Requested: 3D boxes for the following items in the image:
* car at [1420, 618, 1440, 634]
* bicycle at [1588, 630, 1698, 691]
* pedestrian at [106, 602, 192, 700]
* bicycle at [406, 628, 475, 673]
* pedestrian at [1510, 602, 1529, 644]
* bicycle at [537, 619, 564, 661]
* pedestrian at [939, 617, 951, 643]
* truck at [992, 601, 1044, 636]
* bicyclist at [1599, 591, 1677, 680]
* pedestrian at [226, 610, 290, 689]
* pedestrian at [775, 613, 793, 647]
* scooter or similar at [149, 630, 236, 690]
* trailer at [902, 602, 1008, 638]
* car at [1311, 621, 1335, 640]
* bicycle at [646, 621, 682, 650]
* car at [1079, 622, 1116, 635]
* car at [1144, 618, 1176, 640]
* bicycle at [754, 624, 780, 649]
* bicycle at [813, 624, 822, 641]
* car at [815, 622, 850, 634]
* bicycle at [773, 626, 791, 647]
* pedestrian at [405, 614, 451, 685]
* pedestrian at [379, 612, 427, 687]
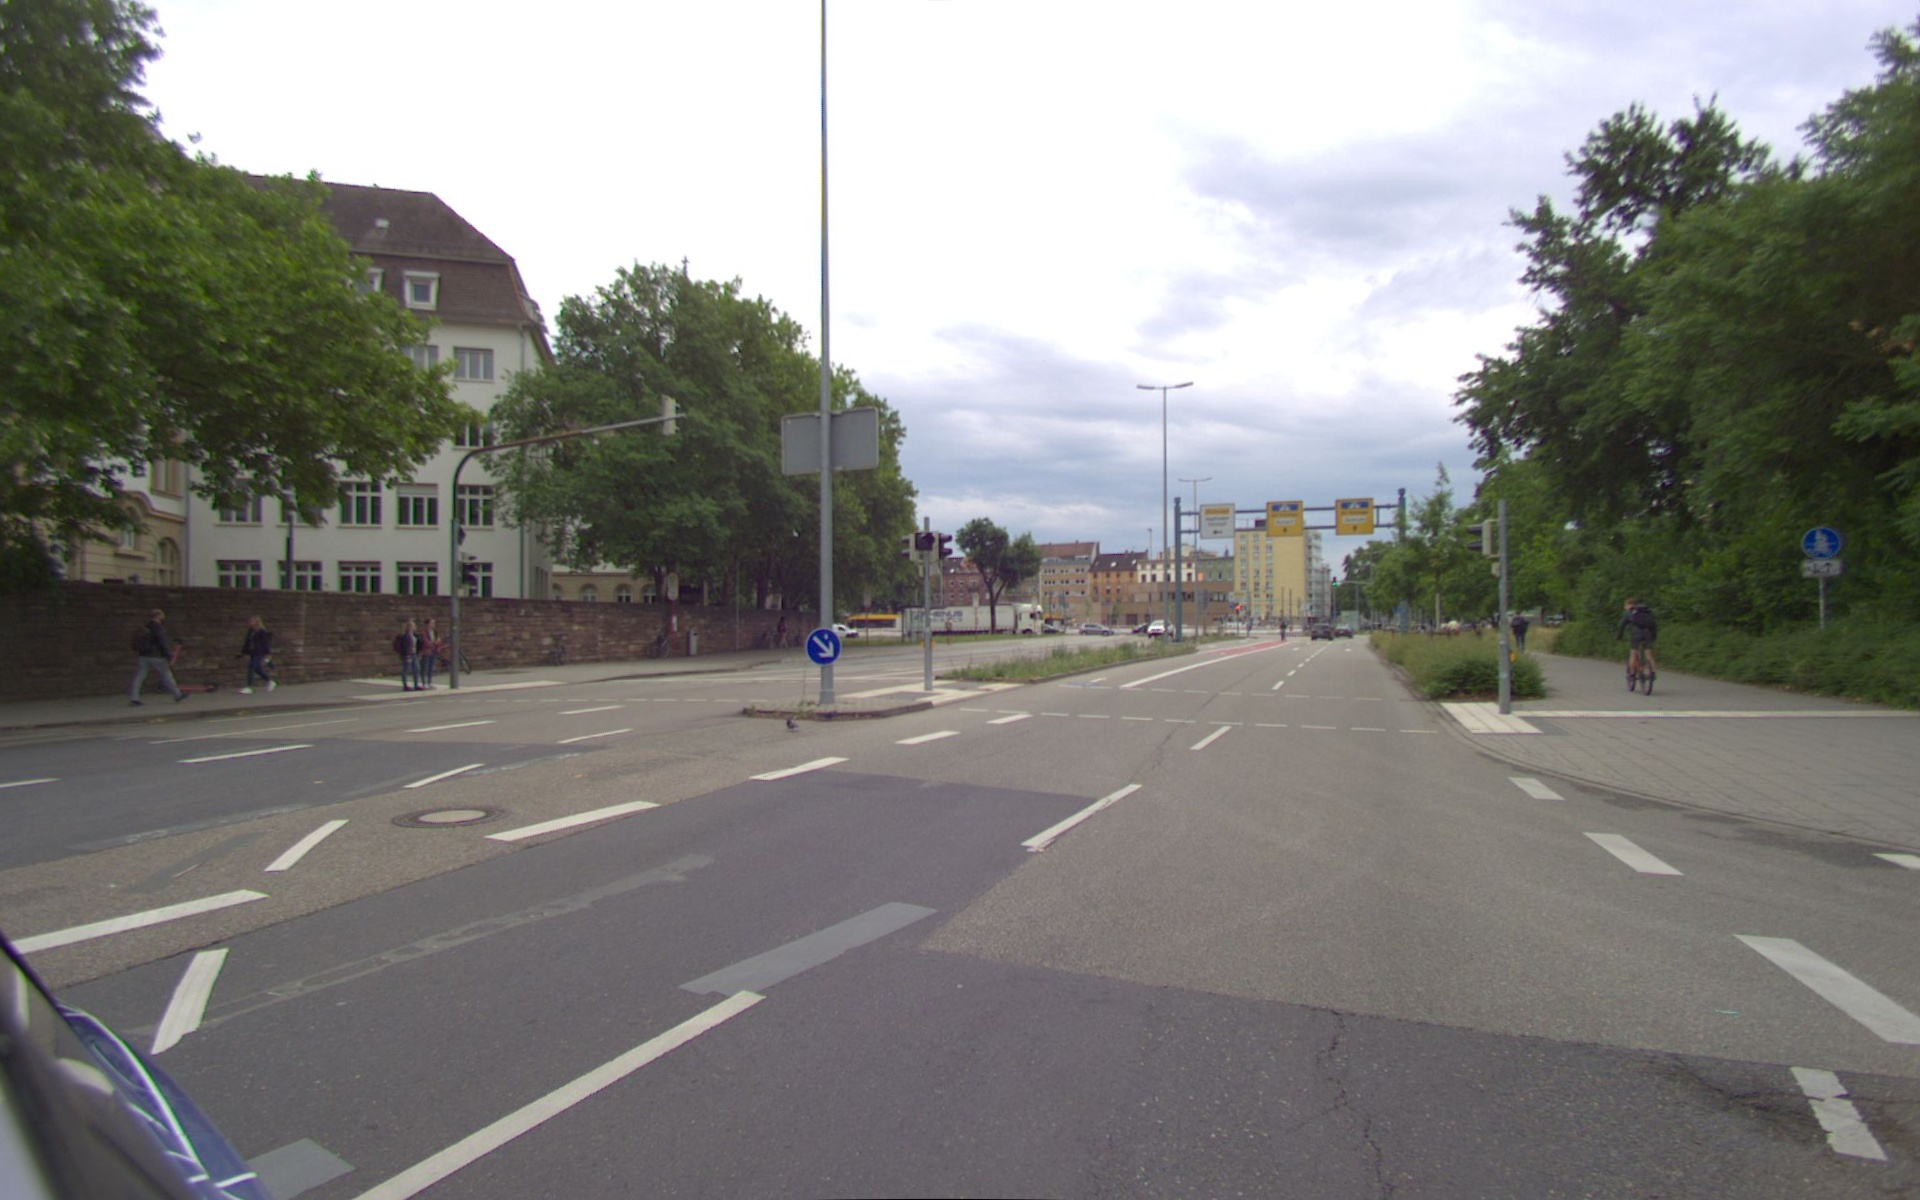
[{"bbox_3d":[61.427,3.398,132.206,1.992,2.029,3.959,-2,-1,30],"label":"car"},{"bbox_3d":[12.976,1.122,19.299,0.772,1.045,1.864,-2,-1,0],"label":"bicycle"},{"bbox_3d":[-15.519,0.945,19.394,0.751,1.802,1.001,1,0,16],"label":"pedestrian"},{"bbox_3d":[-14.747,1.411,28.778,0.576,1.194,2.150,1,-1,9],"label":"bicycle"},{"bbox_3d":[22.425,0.929,40.558,0.640,1.677,0.801,-2,-2,29],"label":"pedestrian"},{"bbox_3d":[-14.185,1.379,35.105,0.658,1.391,2.593,0,-2,-18],"label":"bicycle"},{"bbox_3d":[-0.997,1.997,67.214,0.637,1.719,0.704,-1,-2,18],"label":"pedestrian"},{"bbox_3d":[6.760,2.133,117.446,5.403,3.852,2.829,-1,0,17],"label":"truck"},{"bbox_3d":[12.961,0.678,19.379,0.756,1.620,0.923,-3,-1,1],"label":"bicyclist"},{"bbox_3d":[-15.703,1.082,22.648,0.785,1.677,0.804,4,0,18],"label":"pedestrian"},{"bbox_3d":[-9.435,1.612,54.295,0.781,1.773,0.772,0,-2,5],"label":"pedestrian"},{"bbox_3d":[-16.544,1.269,21.839,0.494,1.239,1.396,0,-1,36],"label":"scooter or similar"},{"bbox_3d":[-0.636,2.334,119.809,12.270,3.852,2.829,-2,0,18],"label":"trailer"},{"bbox_3d":[35.262,2.929,98.357,1.987,1.807,3.970,-1,-2,22],"label":"car"},{"bbox_3d":[-12.262,1.458,42.006,0.657,1.157,2.151,1,-1,7],"label":"bicycle"},{"bbox_3d":[16.224,3.362,119.287,3.966,1.386,1.989,-1,-1,18],"label":"car"},{"bbox_3d":[18.693,2.673,94.374,2.033,1.710,5.337,-4,-1,21],"label":"car"},{"bbox_3d":[-10.370,1.968,54.505,0.657,1.275,2.537,1,-1,7],"label":"bicycle"},{"bbox_3d":[-10.048,2.301,71.391,0.500,1.157,2.249,1,-1,-4],"label":"bicycle"},{"bbox_3d":[-16.188,3.572,128.980,3.966,1.386,1.989,-1,-1,18],"label":"car"},{"bbox_3d":[-10.261,2.088,58.358,0.501,1.157,2.245,1,-1,4],"label":"bicycle"},{"bbox_3d":[-13.055,1.194,24.838,0.773,1.706,0.639,0,-1,17],"label":"pedestrian"},{"bbox_3d":[-13.292,1.170,24.159,0.728,1.752,0.667,0,-1,15],"label":"pedestrian"}]
